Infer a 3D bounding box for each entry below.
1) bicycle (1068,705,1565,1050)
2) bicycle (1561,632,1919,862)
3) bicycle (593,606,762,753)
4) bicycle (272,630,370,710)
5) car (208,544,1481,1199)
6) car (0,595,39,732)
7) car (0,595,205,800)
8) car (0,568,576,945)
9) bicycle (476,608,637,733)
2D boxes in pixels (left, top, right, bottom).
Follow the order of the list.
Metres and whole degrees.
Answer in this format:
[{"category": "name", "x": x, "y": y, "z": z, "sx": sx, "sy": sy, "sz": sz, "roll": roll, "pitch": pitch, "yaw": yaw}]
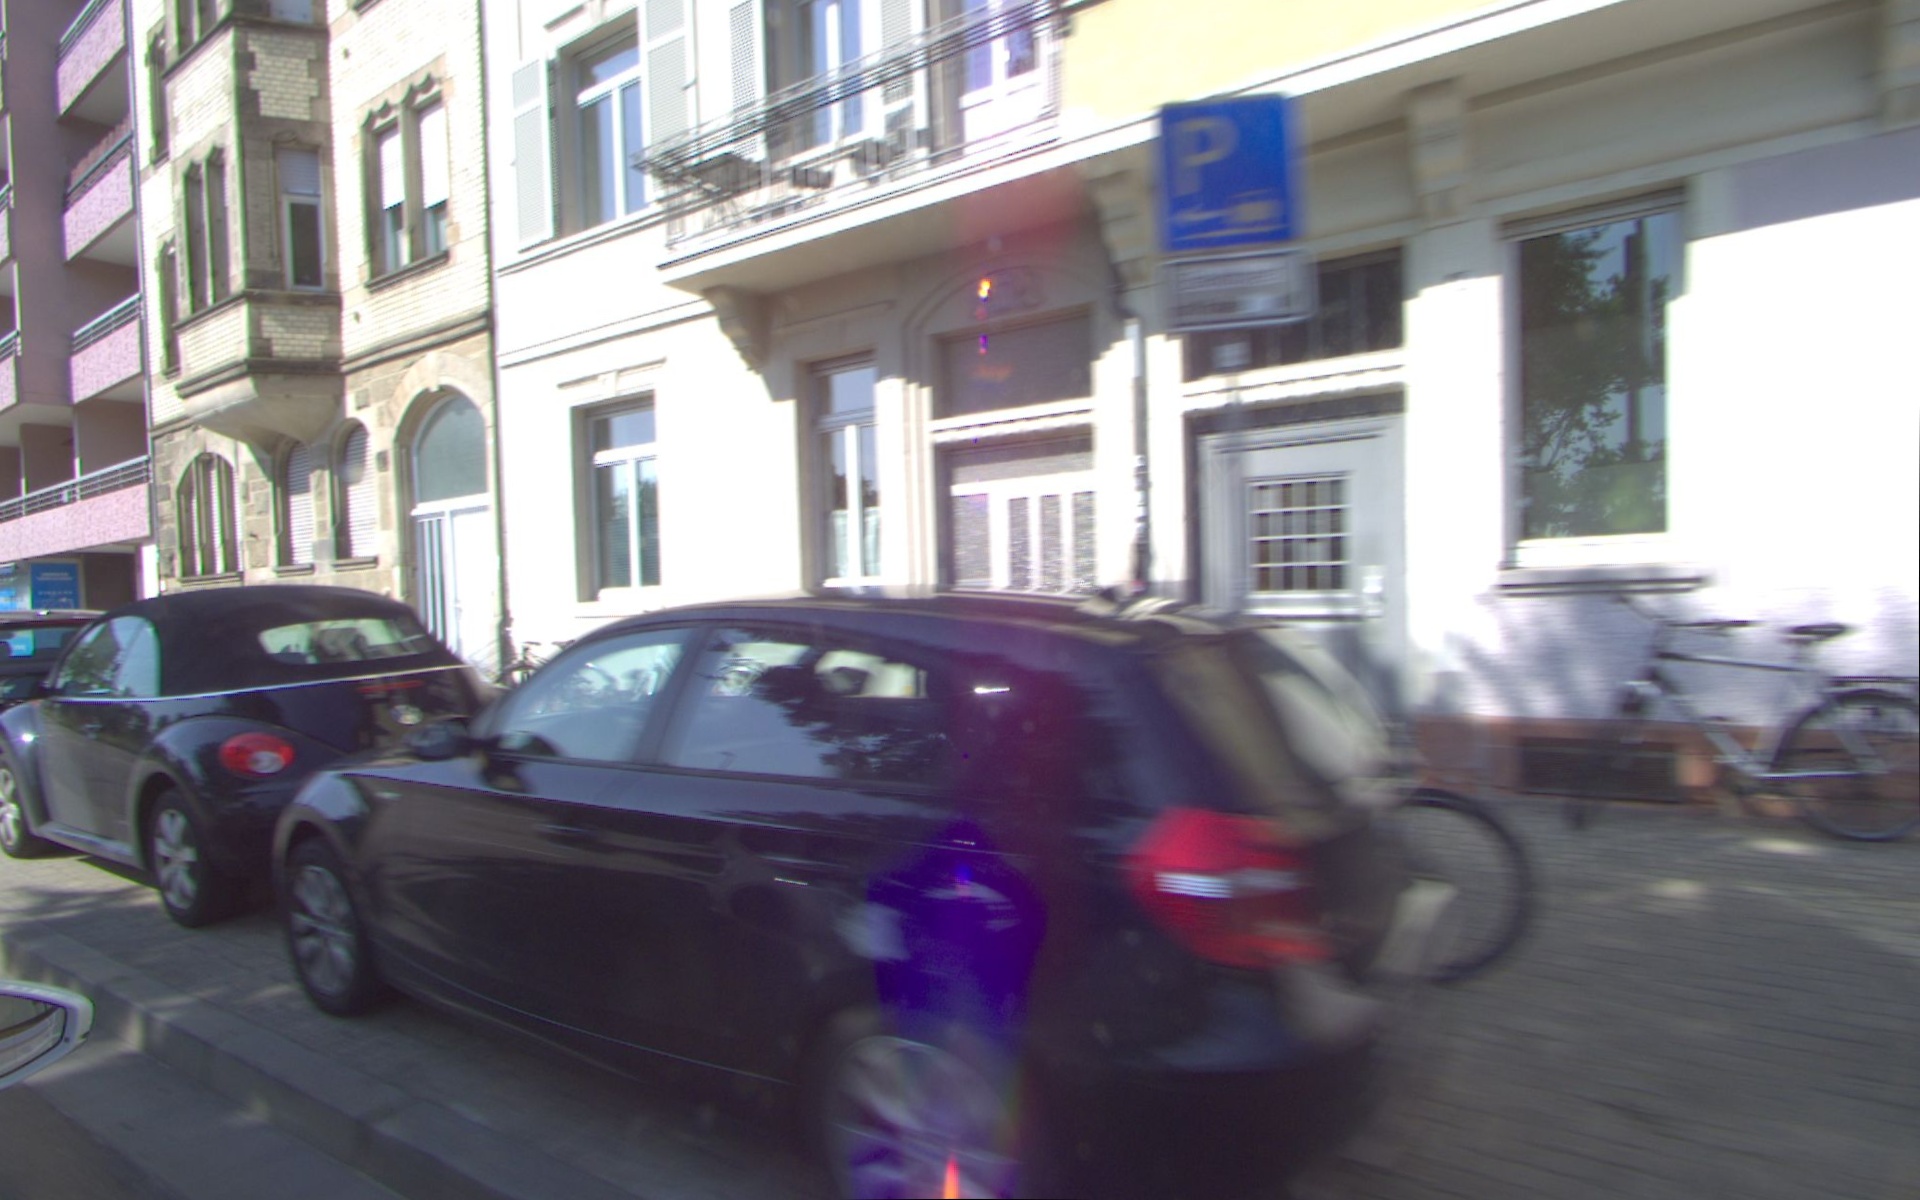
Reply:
[{"category": "bicycle", "x": 1.192, "y": 0.870, "z": 3.497, "sx": 1.558, "sy": 0.904, "sz": 0.447, "roll": -1, "pitch": 2, "yaw": 31}, {"category": "bicycle", "x": 4.060, "y": 0.650, "z": 4.727, "sx": 2.084, "sy": 0.958, "sz": 0.606, "roll": -1, "pitch": 2, "yaw": 32}, {"category": "bicycle", "x": -2.635, "y": 0.694, "z": 9.301, "sx": 1.602, "sy": 1.197, "sz": 0.564, "roll": 2, "pitch": 4, "yaw": 32}, {"category": "bicycle", "x": -8.406, "y": 0.890, "z": 13.155, "sx": 1.631, "sy": 0.983, "sz": 0.506, "roll": -1, "pitch": 1, "yaw": 36}, {"category": "car", "x": -0.661, "y": 0.668, "z": 3.297, "sx": 4.027, "sy": 1.435, "sz": 1.735, "roll": -1, "pitch": 0, "yaw": 35}, {"category": "car", "x": -12.514, "y": 0.762, "z": 11.651, "sx": 3.946, "sy": 1.502, "sz": 1.779, "roll": -1, "pitch": 1, "yaw": 35}, {"category": "car", "x": -8.390, "y": 0.749, "z": 8.800, "sx": 4.072, "sy": 1.472, "sz": 1.637, "roll": -1, "pitch": 1, "yaw": 36}, {"category": "car", "x": -4.196, "y": 0.653, "z": 5.810, "sx": 3.954, "sy": 1.521, "sz": 1.637, "roll": -1, "pitch": 1, "yaw": 33}, {"category": "bicycle", "x": -4.121, "y": 0.685, "z": 10.195, "sx": 1.603, "sy": 1.162, "sz": 0.653, "roll": -1, "pitch": 2, "yaw": 32}]
